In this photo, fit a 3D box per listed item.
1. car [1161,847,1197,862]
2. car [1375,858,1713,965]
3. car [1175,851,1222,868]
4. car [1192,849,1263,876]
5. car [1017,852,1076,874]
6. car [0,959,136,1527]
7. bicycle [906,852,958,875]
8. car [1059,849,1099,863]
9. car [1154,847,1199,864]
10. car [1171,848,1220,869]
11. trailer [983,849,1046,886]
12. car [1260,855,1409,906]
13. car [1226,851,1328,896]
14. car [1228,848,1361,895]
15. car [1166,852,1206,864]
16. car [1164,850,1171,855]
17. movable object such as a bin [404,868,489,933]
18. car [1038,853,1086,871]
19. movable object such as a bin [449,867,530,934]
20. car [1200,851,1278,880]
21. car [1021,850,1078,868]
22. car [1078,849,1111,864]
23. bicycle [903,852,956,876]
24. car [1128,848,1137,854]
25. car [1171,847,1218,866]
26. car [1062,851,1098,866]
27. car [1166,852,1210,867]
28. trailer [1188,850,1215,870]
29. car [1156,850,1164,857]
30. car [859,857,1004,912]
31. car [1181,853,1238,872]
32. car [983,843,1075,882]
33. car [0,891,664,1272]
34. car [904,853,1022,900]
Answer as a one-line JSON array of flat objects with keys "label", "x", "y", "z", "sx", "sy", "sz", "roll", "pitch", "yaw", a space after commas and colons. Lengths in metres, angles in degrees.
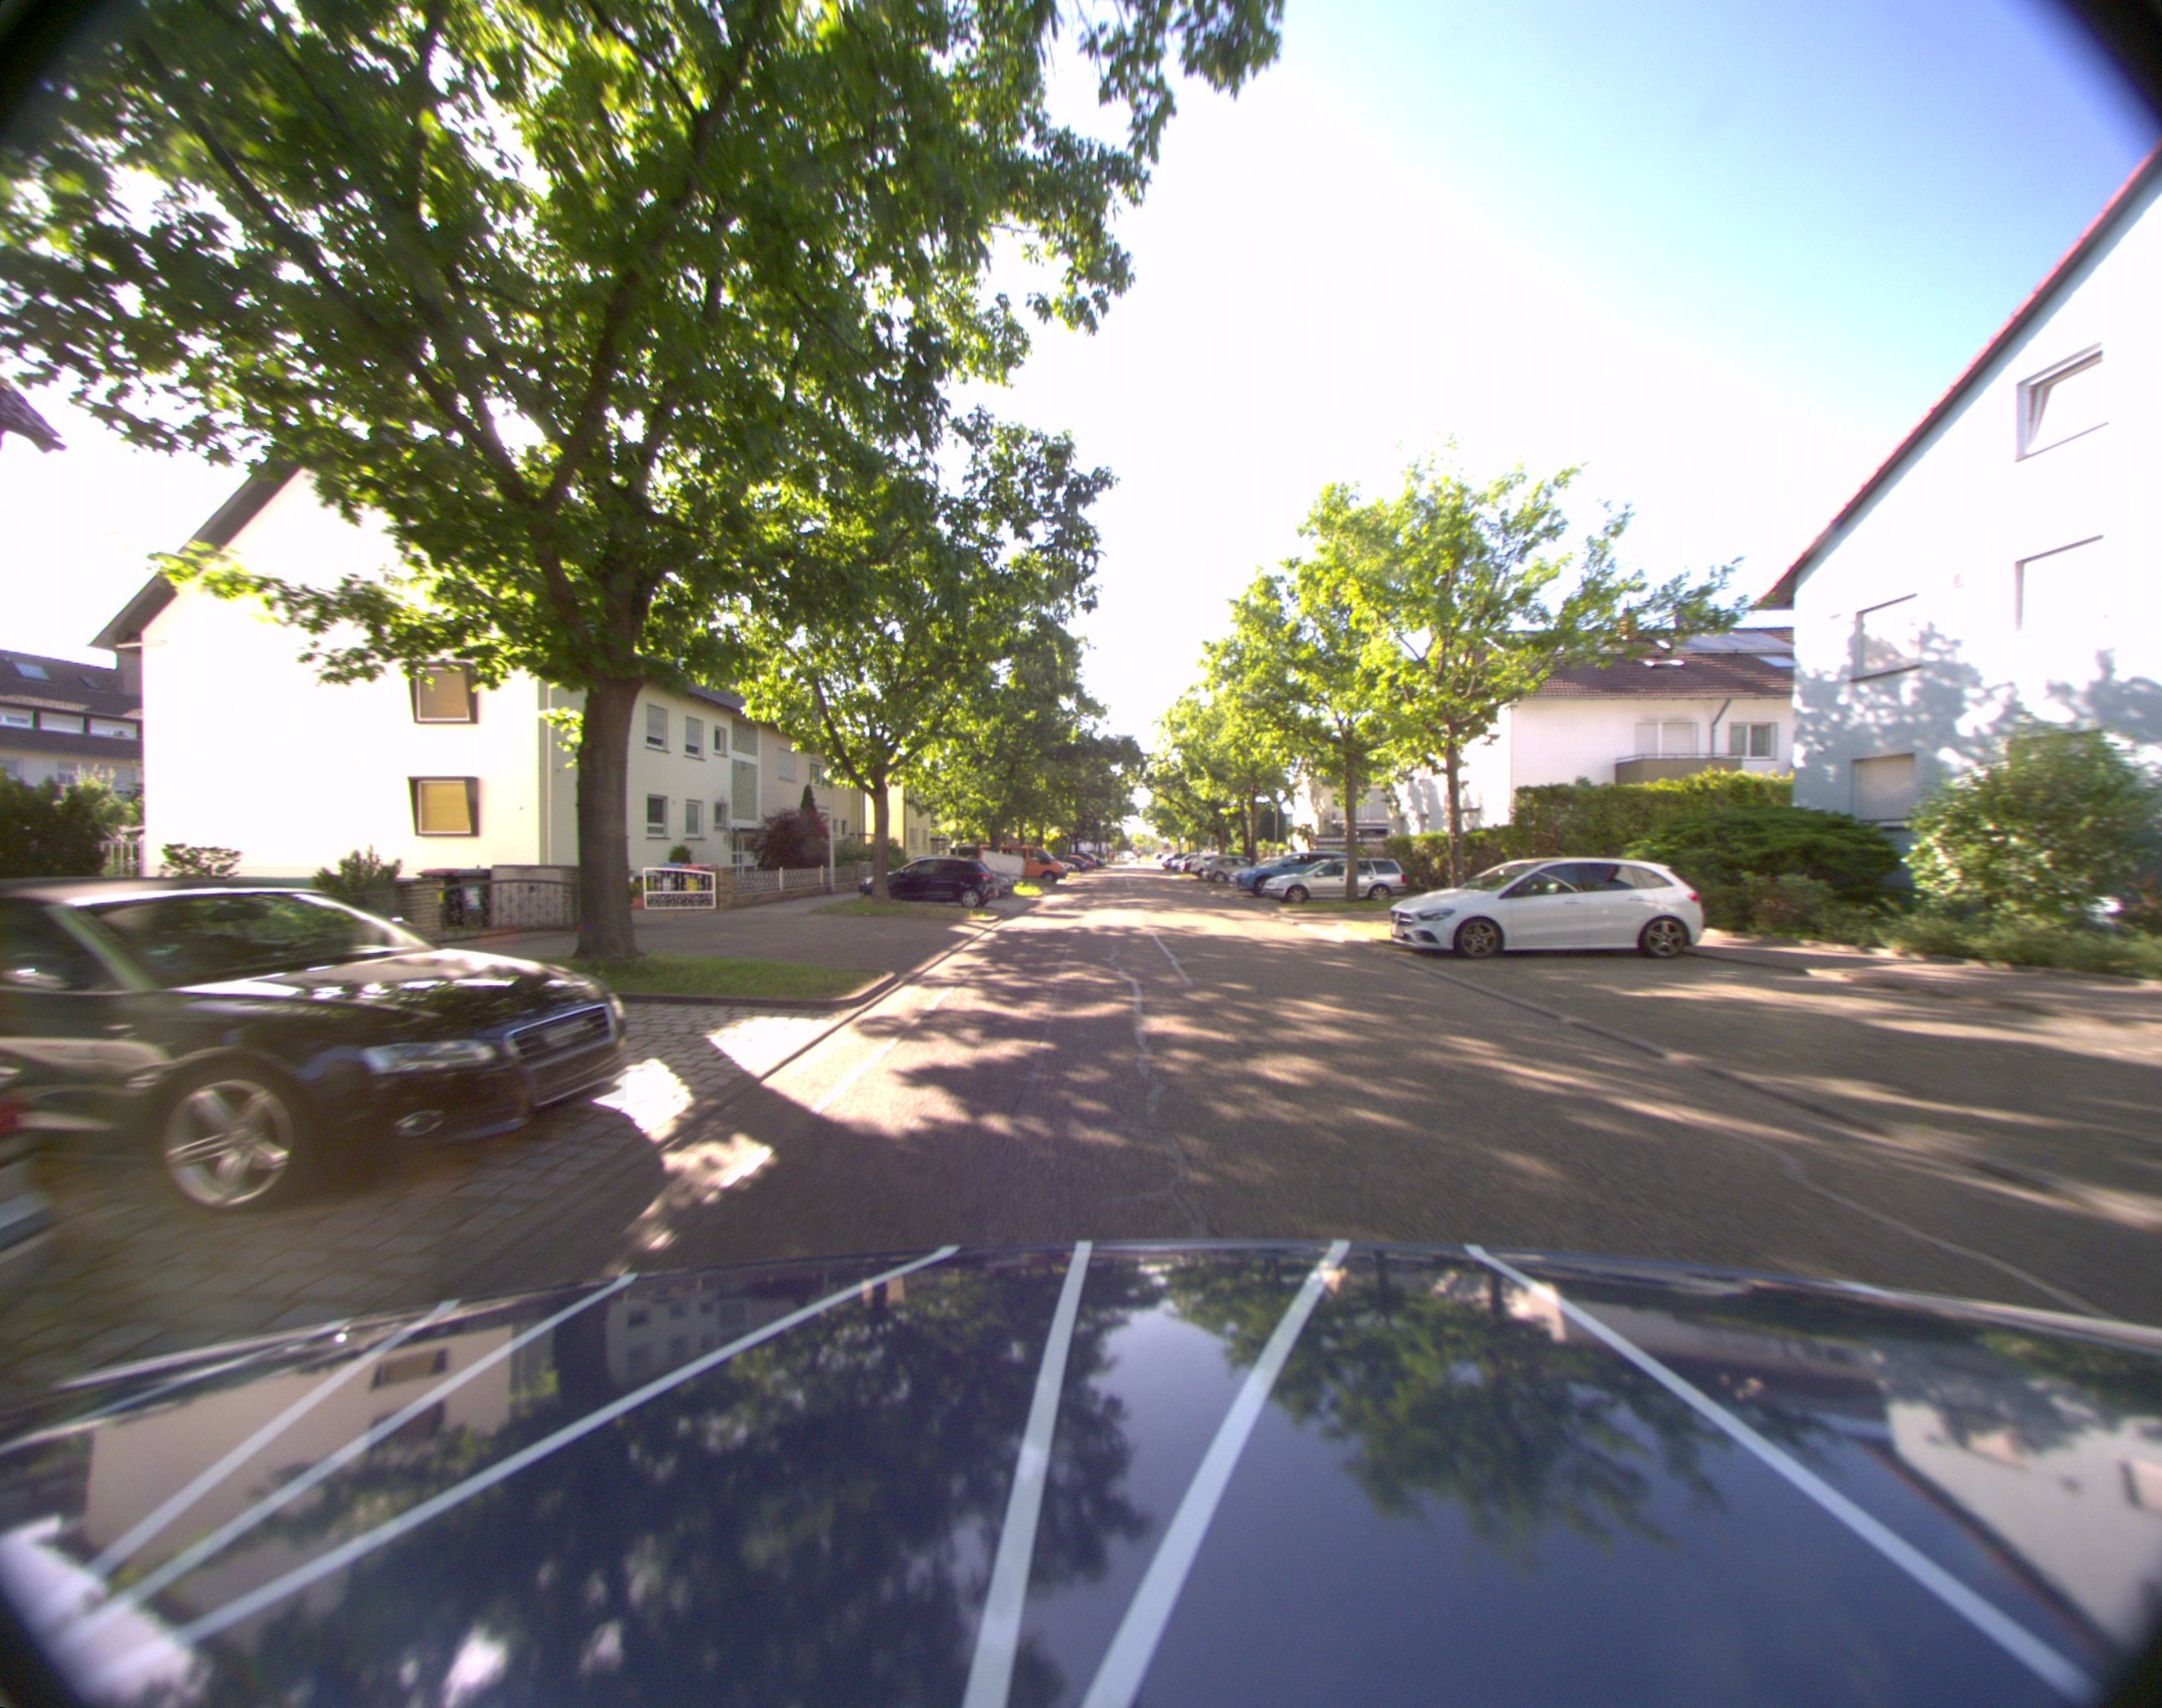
[{"label": "car", "x": 11.784, "y": 0.050, "z": 91.293, "sx": 4.219, "sy": 1.714, "sz": 1.761, "roll": -1, "pitch": 1, "yaw": 5}, {"label": "car", "x": 7.188, "y": 0.862, "z": 12.145, "sx": 4.286, "sy": 1.469, "sz": 1.769, "roll": -1, "pitch": 1, "yaw": 3}, {"label": "car", "x": 10.629, "y": 0.496, "z": 68.905, "sx": 3.997, "sy": 1.507, "sz": 1.690, "roll": 0, "pitch": 1, "yaw": 1}, {"label": "car", "x": 9.294, "y": 0.537, "z": 48.459, "sx": 4.196, "sy": 1.558, "sz": 1.792, "roll": -2, "pitch": 1, "yaw": 5}, {"label": "car", "x": -2.584, "y": 0.647, "z": 58.097, "sx": 4.348, "sy": 1.551, "sz": 1.868, "roll": 1, "pitch": 1, "yaw": 3}, {"label": "car", "x": -4.857, "y": 0.994, "z": 1.197, "sx": 4.288, "sy": 1.406, "sz": 1.796, "roll": 1, "pitch": 1, "yaw": -3}, {"label": "bicycle", "x": -8.541, "y": 0.535, "z": 43.516, "sx": 2.865, "sy": 1.230, "sz": 0.468, "roll": 1, "pitch": 2, "yaw": 4}, {"label": "car", "x": -0.184, "y": 0.218, "z": 89.218, "sx": 4.512, "sy": 1.437, "sz": 1.839, "roll": 1, "pitch": 1, "yaw": 5}, {"label": "car", "x": 10.497, "y": 0.191, "z": 83.713, "sx": 4.684, "sy": 1.758, "sz": 1.795, "roll": -2, "pitch": 0, "yaw": 4}, {"label": "car", "x": 10.732, "y": 0.407, "z": 71.429, "sx": 4.246, "sy": 1.933, "sz": 2.000, "roll": 0, "pitch": 1, "yaw": 1}, {"label": "trailer", "x": -3.230, "y": 0.658, "z": 37.368, "sx": 2.954, "sy": 1.655, "sz": 1.614, "roll": 2, "pitch": 2, "yaw": -3}, {"label": "car", "x": 7.941, "y": 0.813, "z": 24.067, "sx": 4.192, "sy": 1.483, "sz": 1.647, "roll": -1, "pitch": 1, "yaw": 2}, {"label": "car", "x": 8.610, "y": 0.852, "z": 33.665, "sx": 3.996, "sy": 1.587, "sz": 1.857, "roll": 4, "pitch": 4, "yaw": 3}, {"label": "car", "x": 8.010, "y": 0.655, "z": 28.875, "sx": 4.534, "sy": 1.622, "sz": 1.938, "roll": -1, "pitch": 1, "yaw": 4}, {"label": "car", "x": 11.946, "y": 0.442, "z": 86.678, "sx": 4.283, "sy": 1.416, "sz": 1.723, "roll": 0, "pitch": 1, "yaw": -3}, {"label": "car", "x": 24.698, "y": -0.536, "z": 216.867, "sx": 1.877, "sy": 1.469, "sz": 3.852, "roll": 0, "pitch": 1, "yaw": 7}, {"label": "movable object such as a bin", "x": -11.246, "y": 0.807, "z": 13.500, "sx": 0.704, "sy": 1.092, "sz": 0.906, "roll": 0, "pitch": 2, "yaw": 1}, {"label": "car", "x": -1.746, "y": 0.719, "z": 70.635, "sx": 4.329, "sy": 1.521, "sz": 1.841, "roll": 2, "pitch": 1, "yaw": 3}, {"label": "movable object such as a bin", "x": -10.461, "y": 0.803, "z": 13.471, "sx": 0.704, "sy": 1.105, "sz": 0.906, "roll": 0, "pitch": 2, "yaw": 1}, {"label": "car", "x": 8.926, "y": 0.630, "z": 43.189, "sx": 4.043, "sy": 1.415, "sz": 1.810, "roll": -2, "pitch": 1, "yaw": 2}, {"label": "car", "x": -2.589, "y": 0.439, "z": 63.236, "sx": 4.436, "sy": 1.324, "sz": 1.691, "roll": 2, "pitch": 1, "yaw": 6}, {"label": "car", "x": 1.788, "y": 0.317, "z": 99.509, "sx": 4.220, "sy": 1.771, "sz": 1.790, "roll": 2, "pitch": 1, "yaw": 5}, {"label": "bicycle", "x": -8.578, "y": 0.549, "z": 43.030, "sx": 2.865, "sy": 1.230, "sz": 0.468, "roll": 2, "pitch": 2, "yaw": 4}, {"label": "car", "x": 12.827, "y": -0.729, "z": 190.189, "sx": 1.943, "sy": 1.412, "sz": 4.002, "roll": 0, "pitch": 0, "yaw": 7}, {"label": "car", "x": 10.996, "y": 0.251, "z": 73.969, "sx": 4.249, "sy": 1.760, "sz": 1.967, "roll": -1, "pitch": 1, "yaw": 1}, {"label": "car", "x": -0.118, "y": 0.475, "z": 84.429, "sx": 3.785, "sy": 1.476, "sz": 1.756, "roll": 1, "pitch": 2, "yaw": 5}, {"label": "car", "x": 11.356, "y": 0.588, "z": 80.724, "sx": 4.487, "sy": 1.491, "sz": 1.837, "roll": 0, "pitch": 1, "yaw": 3}, {"label": "trailer", "x": 10.539, "y": 0.519, "z": 66.492, "sx": 2.240, "sy": 1.664, "sz": 1.475, "roll": 0, "pitch": 0, "yaw": 8}, {"label": "car", "x": 18.968, "y": -0.156, "z": 182.651, "sx": 1.740, "sy": 1.532, "sz": 3.949, "roll": 0, "pitch": 1, "yaw": 10}, {"label": "car", "x": -4.349, "y": 0.862, "z": 22.467, "sx": 3.891, "sy": 1.507, "sz": 1.661, "roll": 0, "pitch": 2, "yaw": 3}, {"label": "car", "x": 9.879, "y": 0.628, "z": 58.650, "sx": 4.219, "sy": 1.463, "sz": 1.691, "roll": 0, "pitch": 1, "yaw": 6}, {"label": "car", "x": -2.825, "y": 0.465, "z": 42.001, "sx": 4.829, "sy": 2.071, "sz": 2.086, "roll": 0, "pitch": 1, "yaw": 3}, {"label": "car", "x": -4.918, "y": 0.966, "z": 4.055, "sx": 4.356, "sy": 1.355, "sz": 1.873, "roll": 1, "pitch": 1, "yaw": 2}, {"label": "car", "x": -4.215, "y": 0.782, "z": 27.525, "sx": 3.997, "sy": 1.614, "sz": 1.757, "roll": 0, "pitch": 2, "yaw": 0}]
